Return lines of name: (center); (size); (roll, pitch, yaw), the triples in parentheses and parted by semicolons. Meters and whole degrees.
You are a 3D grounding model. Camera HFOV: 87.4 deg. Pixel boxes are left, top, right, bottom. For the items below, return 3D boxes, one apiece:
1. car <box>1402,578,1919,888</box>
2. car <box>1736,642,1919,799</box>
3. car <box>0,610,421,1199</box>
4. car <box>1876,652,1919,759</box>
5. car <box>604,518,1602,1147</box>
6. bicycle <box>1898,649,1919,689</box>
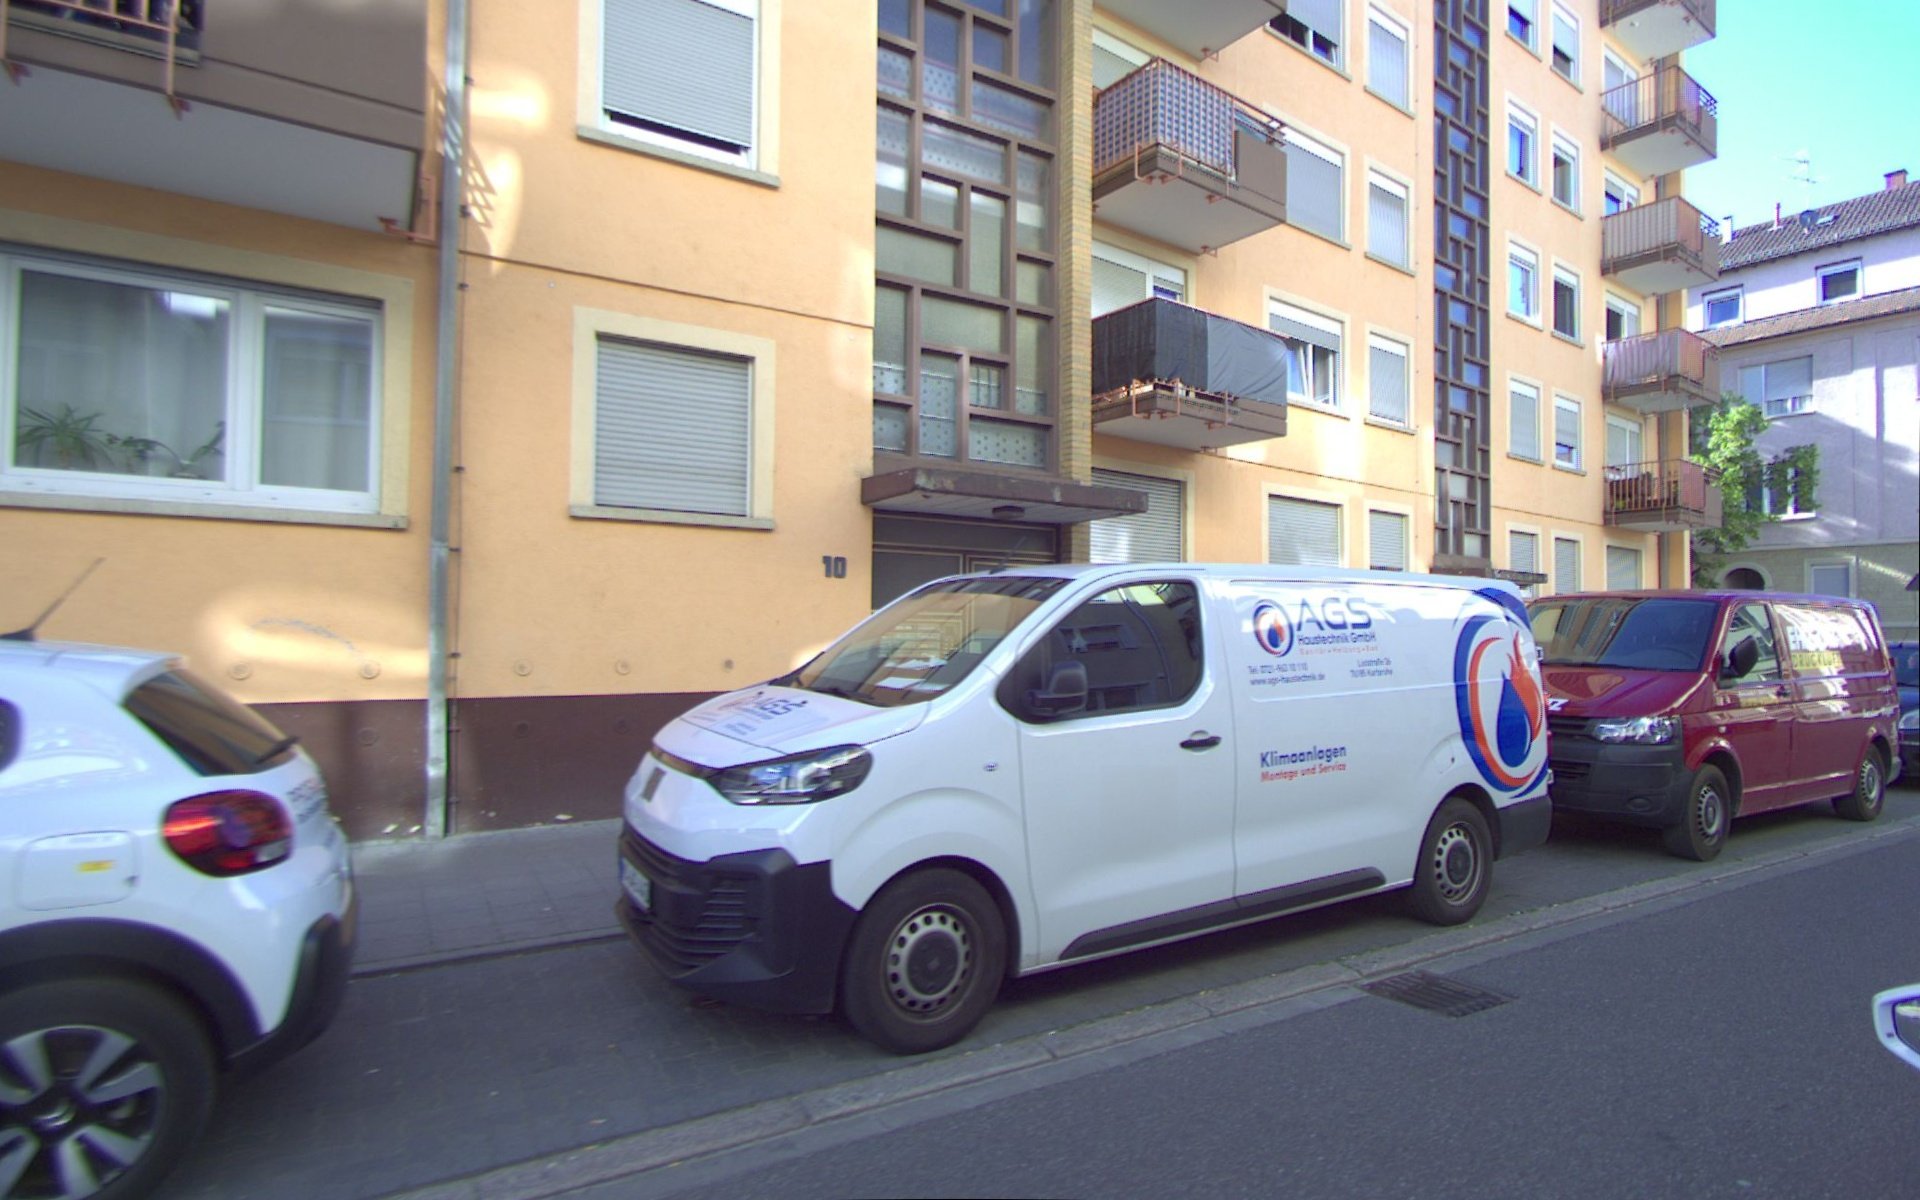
car: (5.988, 0.912, 8.389); (4.879, 1.950, 1.754); (1, -2, -32)
car: (10.669, 1.244, 11.346); (3.956, 1.522, 1.753); (1, -4, -33)
car: (-3.769, 0.853, 2.436); (4.246, 1.642, 1.754); (1, -2, -32)
car: (14.789, 1.420, 14.012); (4.426, 1.395, 1.754); (1, -2, -31)
car: (1.028, 0.801, 5.369); (5.249, 1.950, 1.965); (1, -2, -32)
bicycle: (28.565, 2.015, 29.144); (0.520, 1.150, 1.888); (-1, -2, -33)
